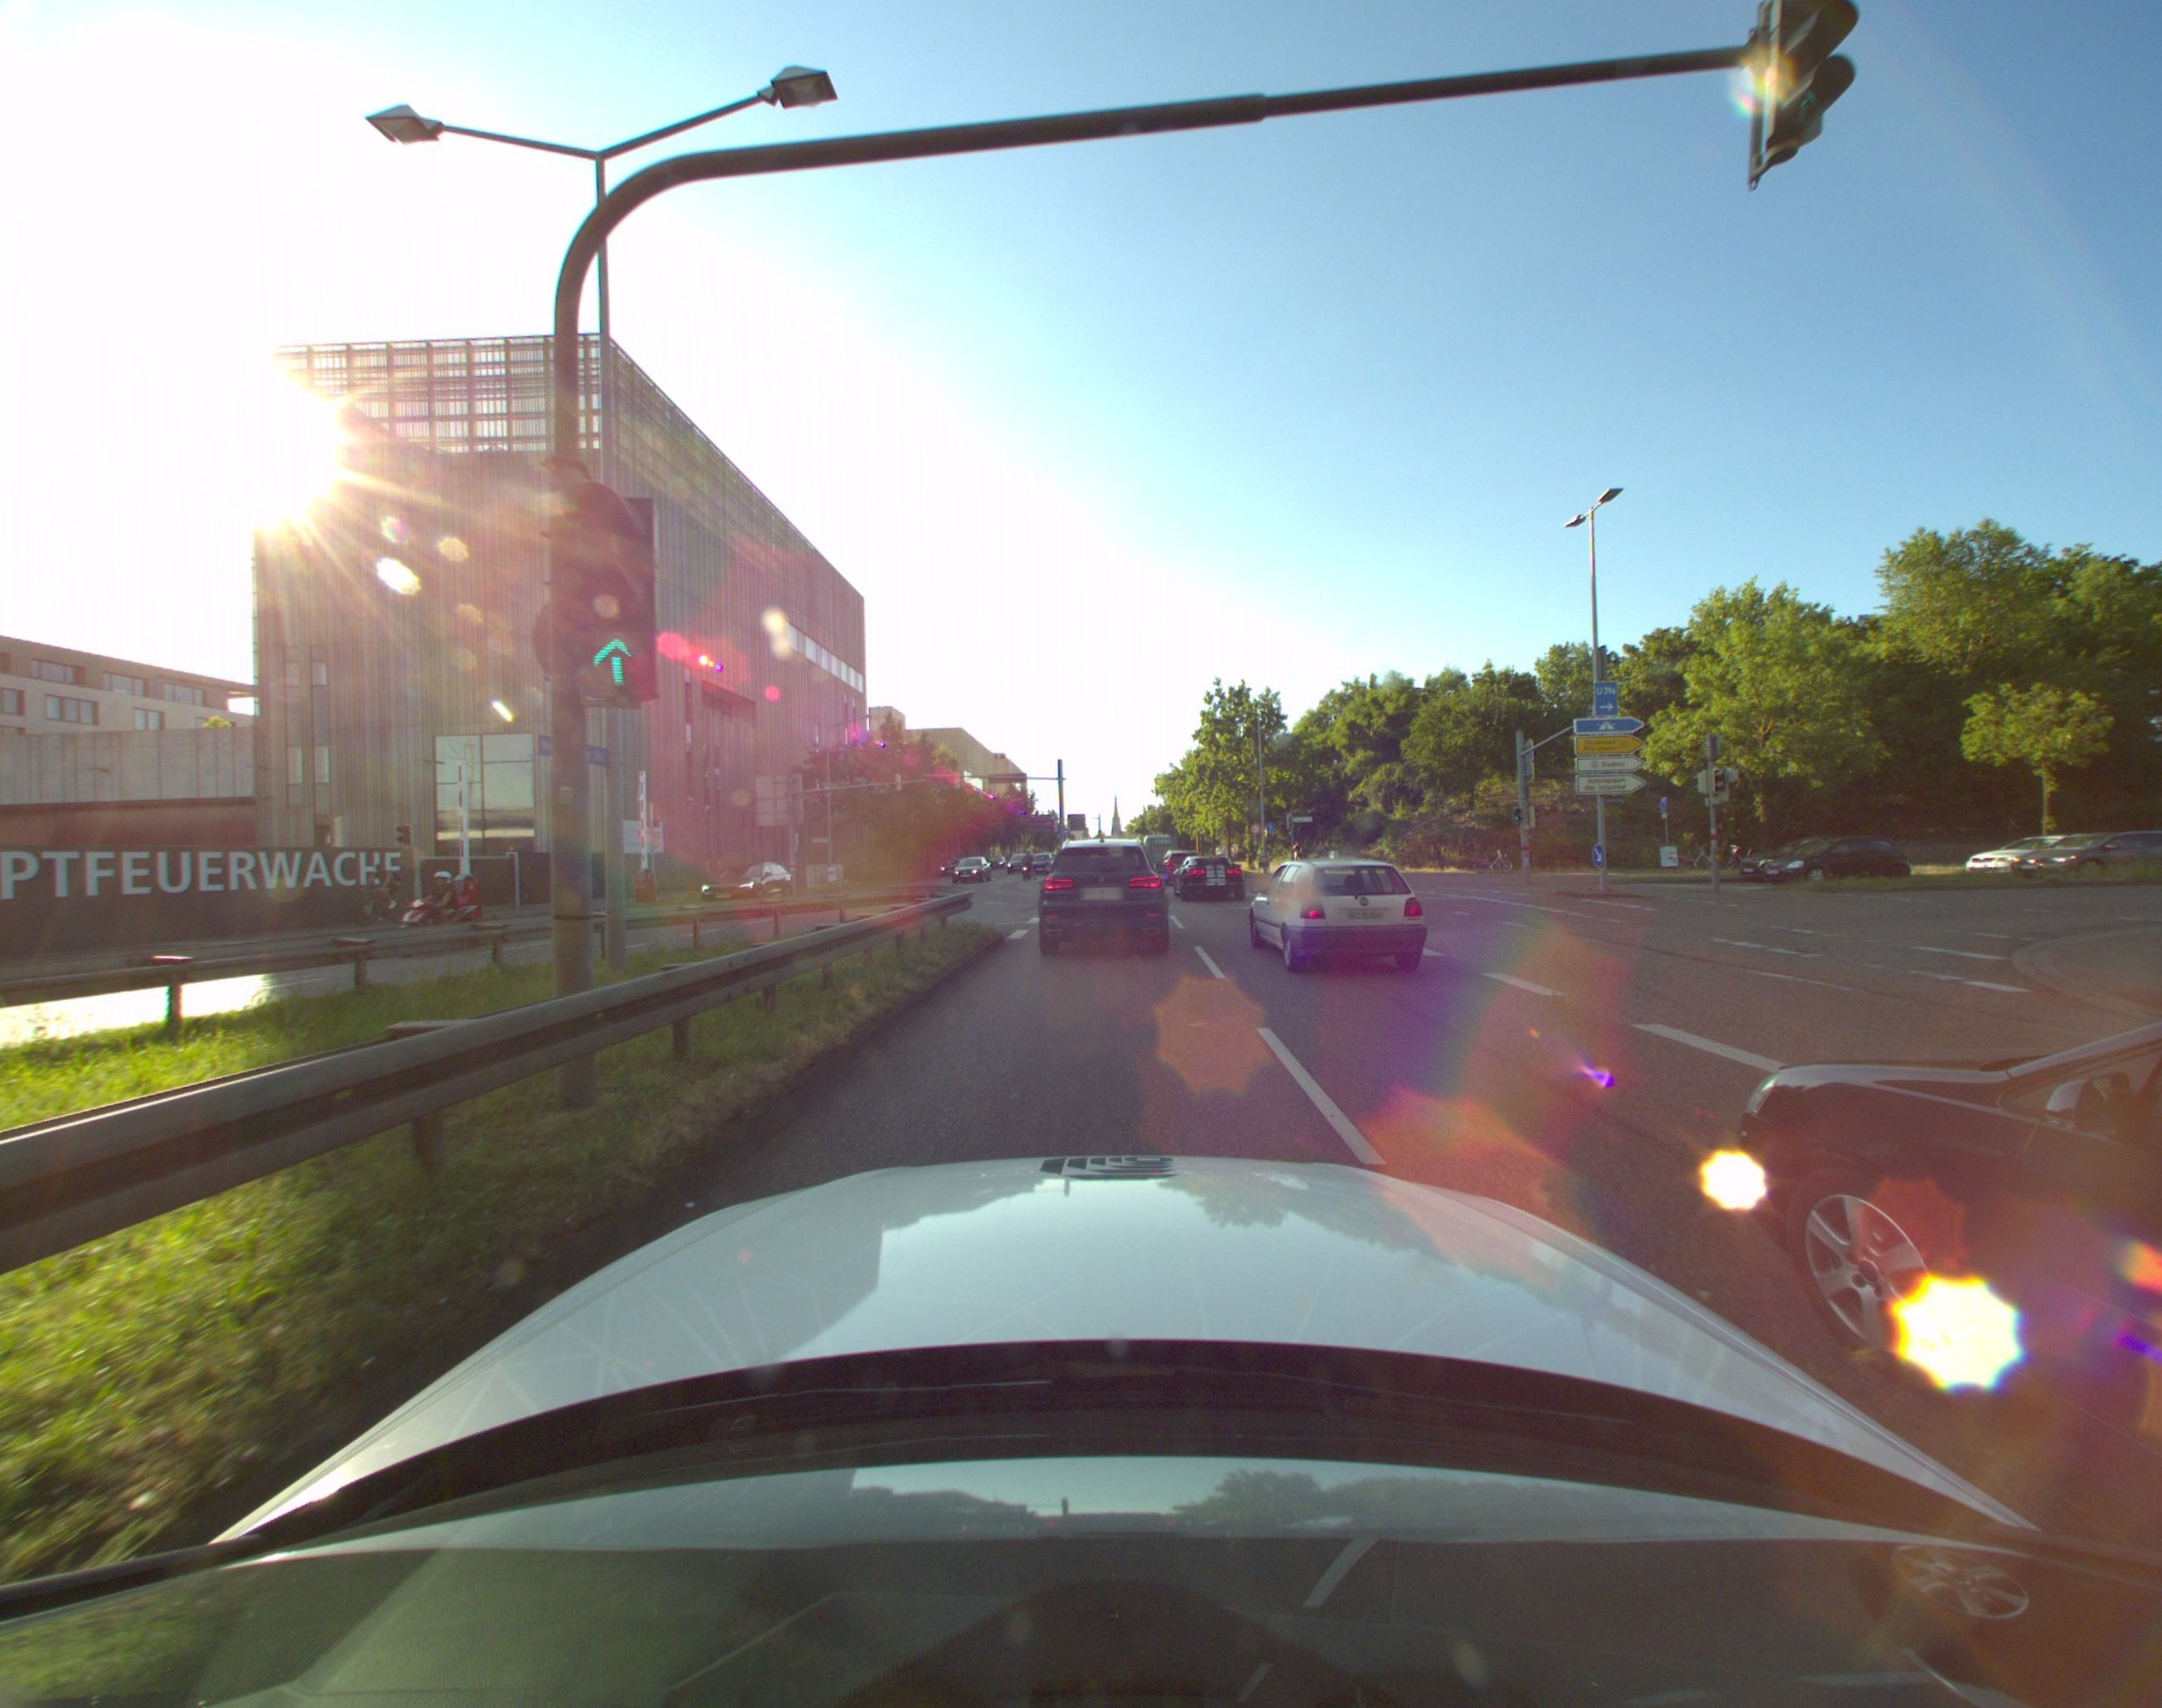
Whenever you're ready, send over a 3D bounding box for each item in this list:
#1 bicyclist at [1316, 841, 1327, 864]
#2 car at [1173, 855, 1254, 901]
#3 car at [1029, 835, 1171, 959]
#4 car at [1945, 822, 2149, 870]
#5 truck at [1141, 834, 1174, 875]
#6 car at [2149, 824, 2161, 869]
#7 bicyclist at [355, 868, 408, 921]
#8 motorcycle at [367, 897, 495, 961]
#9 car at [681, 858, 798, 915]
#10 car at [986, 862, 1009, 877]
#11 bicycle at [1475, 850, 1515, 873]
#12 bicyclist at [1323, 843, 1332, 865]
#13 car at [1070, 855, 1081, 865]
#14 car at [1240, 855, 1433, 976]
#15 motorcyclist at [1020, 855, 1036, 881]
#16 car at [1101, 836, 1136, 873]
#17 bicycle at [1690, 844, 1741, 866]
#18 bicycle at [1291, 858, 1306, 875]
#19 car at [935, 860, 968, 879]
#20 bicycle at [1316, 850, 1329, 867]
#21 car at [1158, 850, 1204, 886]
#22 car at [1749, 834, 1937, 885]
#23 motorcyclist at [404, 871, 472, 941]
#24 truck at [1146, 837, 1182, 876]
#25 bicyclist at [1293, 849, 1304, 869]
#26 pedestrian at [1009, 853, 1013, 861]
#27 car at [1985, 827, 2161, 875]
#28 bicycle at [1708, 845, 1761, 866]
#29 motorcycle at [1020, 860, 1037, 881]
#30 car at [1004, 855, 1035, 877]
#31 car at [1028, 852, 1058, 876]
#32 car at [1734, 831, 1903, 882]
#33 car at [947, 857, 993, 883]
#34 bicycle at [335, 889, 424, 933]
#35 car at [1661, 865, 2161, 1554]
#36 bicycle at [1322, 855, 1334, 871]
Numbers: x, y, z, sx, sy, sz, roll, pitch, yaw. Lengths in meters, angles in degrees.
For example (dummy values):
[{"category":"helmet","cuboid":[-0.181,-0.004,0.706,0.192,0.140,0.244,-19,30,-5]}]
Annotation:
[{"category":"bicyclist","cuboid":[13.240,-0.100,44.839,0.426,1.233,0.460,-2,-1,2]},{"category":"car","cuboid":[3.983,0.705,25.116,1.986,1.295,4.002,0,-1,2]},{"category":"car","cuboid":[0.370,0.644,13.711,1.985,1.734,4.535,0,-1,2]},{"category":"car","cuboid":[33.449,-0.241,28.346,4.303,1.568,2.045,0,-1,8]},{"category":"truck","cuboid":[5.142,0.081,55.106,1.988,2.669,4.002,0,-1,2]},{"category":"car","cuboid":[39.753,-0.276,27.482,4.303,1.568,2.045,0,-1,8]},{"category":"bicyclist","cuboid":[-21.045,1.211,24.513,0.720,1.563,0.941,0,-1,7]},{"category":"motorcycle","cuboid":[-13.413,1.505,16.902,0.677,1.156,2.242,0,-1,6]},{"category":"car","cuboid":[-12.024,1.100,29.059,1.986,1.696,4.681,-5,-1,1]},{"category":"car","cuboid":[-9.811,1.847,96.306,1.987,1.591,4.715,-5,-1,1]},{"category":"bicycle","cuboid":[20.006,0.354,39.382,1.648,0.991,0.581,-2,2,18]},{"category":"bicyclist","cuboid":[14.567,0.020,48.143,0.426,1.309,0.460,0,-1,2]},{"category":"car","cuboid":[-1.089,1.282,160.875,1.750,1.777,4.495,-5,-1,1]},{"category":"car","cuboid":[3.389,0.750,11.576,1.573,1.413,4.063,0,-1,2]},{"category":"motorcyclist","cuboid":[-2.977,0.769,45.788,0.796,1.349,1.272,-3,1,-5]},{"category":"car","cuboid":[2.658,0.090,58.982,2.131,2.576,5.081,0,-1,-3]},{"category":"bicycle","cuboid":[29.993,0.053,38.502,1.778,0.980,0.642,-1,-1,16]},{"category":"bicycle","cuboid":[14.197,0.799,53.161,0.562,1.112,1.622,0,-1,2]},{"category":"car","cuboid":[-11.333,1.344,71.516,1.987,1.400,4.349,-5,-1,1]},{"category":"bicycle","cuboid":[13.249,0.268,44.716,0.435,0.914,1.027,-3,-1,3]},{"category":"car","cuboid":[4.565,0.644,37.723,1.789,1.559,4.002,0,-1,2]},{"category":"car","cuboid":[24.242,0.188,26.052,3.964,1.530,2.004,0,-1,8]},{"category":"motorcyclist","cuboid":[-13.400,1.064,17.000,0.678,1.424,0.869,0,-1,5]},{"category":"truck","cuboid":[5.065,0.186,50.370,1.988,2.315,4.002,0,-1,2]},{"category":"bicyclist","cuboid":[14.187,0.332,53.149,0.541,1.316,0.836,0,-1,2]},{"category":"pedestrian","cuboid":[-14.792,0.622,172.379,0.624,1.522,0.719,0,-1,5]},{"category":"car","cuboid":[31.516,-0.070,25.285,4.303,1.407,2.045,0,-1,8]},{"category":"bicycle","cuboid":[29.897,0.068,37.288,1.778,0.980,0.642,-1,0,16]},{"category":"motorcycle","cuboid":[-2.961,0.933,45.767,0.838,1.076,2.397,-4,0,-4]},{"category":"car","cuboid":[-5.029,0.972,67.513,1.987,1.591,4.715,-5,-1,1]},{"category":"car","cuboid":[-2.602,0.723,56.007,1.696,1.452,3.857,-5,-1,1]},{"category":"car","cuboid":[25.512,0.094,28.306,3.964,1.694,1.867,0,-1,8]},{"category":"car","cuboid":[-6.377,0.928,47.322,1.986,1.475,4.081,0,-1,1]},{"category":"bicycle","cuboid":[-21.043,1.687,24.479,0.701,1.156,2.085,0,1,6]},{"category":"car","cuboid":[3.001,0.724,1.340,1.610,1.410,3.686,0,-1,3]},{"category":"bicycle","cuboid":[14.570,0.540,48.125,0.435,0.914,1.027,0,-1,3]}]
